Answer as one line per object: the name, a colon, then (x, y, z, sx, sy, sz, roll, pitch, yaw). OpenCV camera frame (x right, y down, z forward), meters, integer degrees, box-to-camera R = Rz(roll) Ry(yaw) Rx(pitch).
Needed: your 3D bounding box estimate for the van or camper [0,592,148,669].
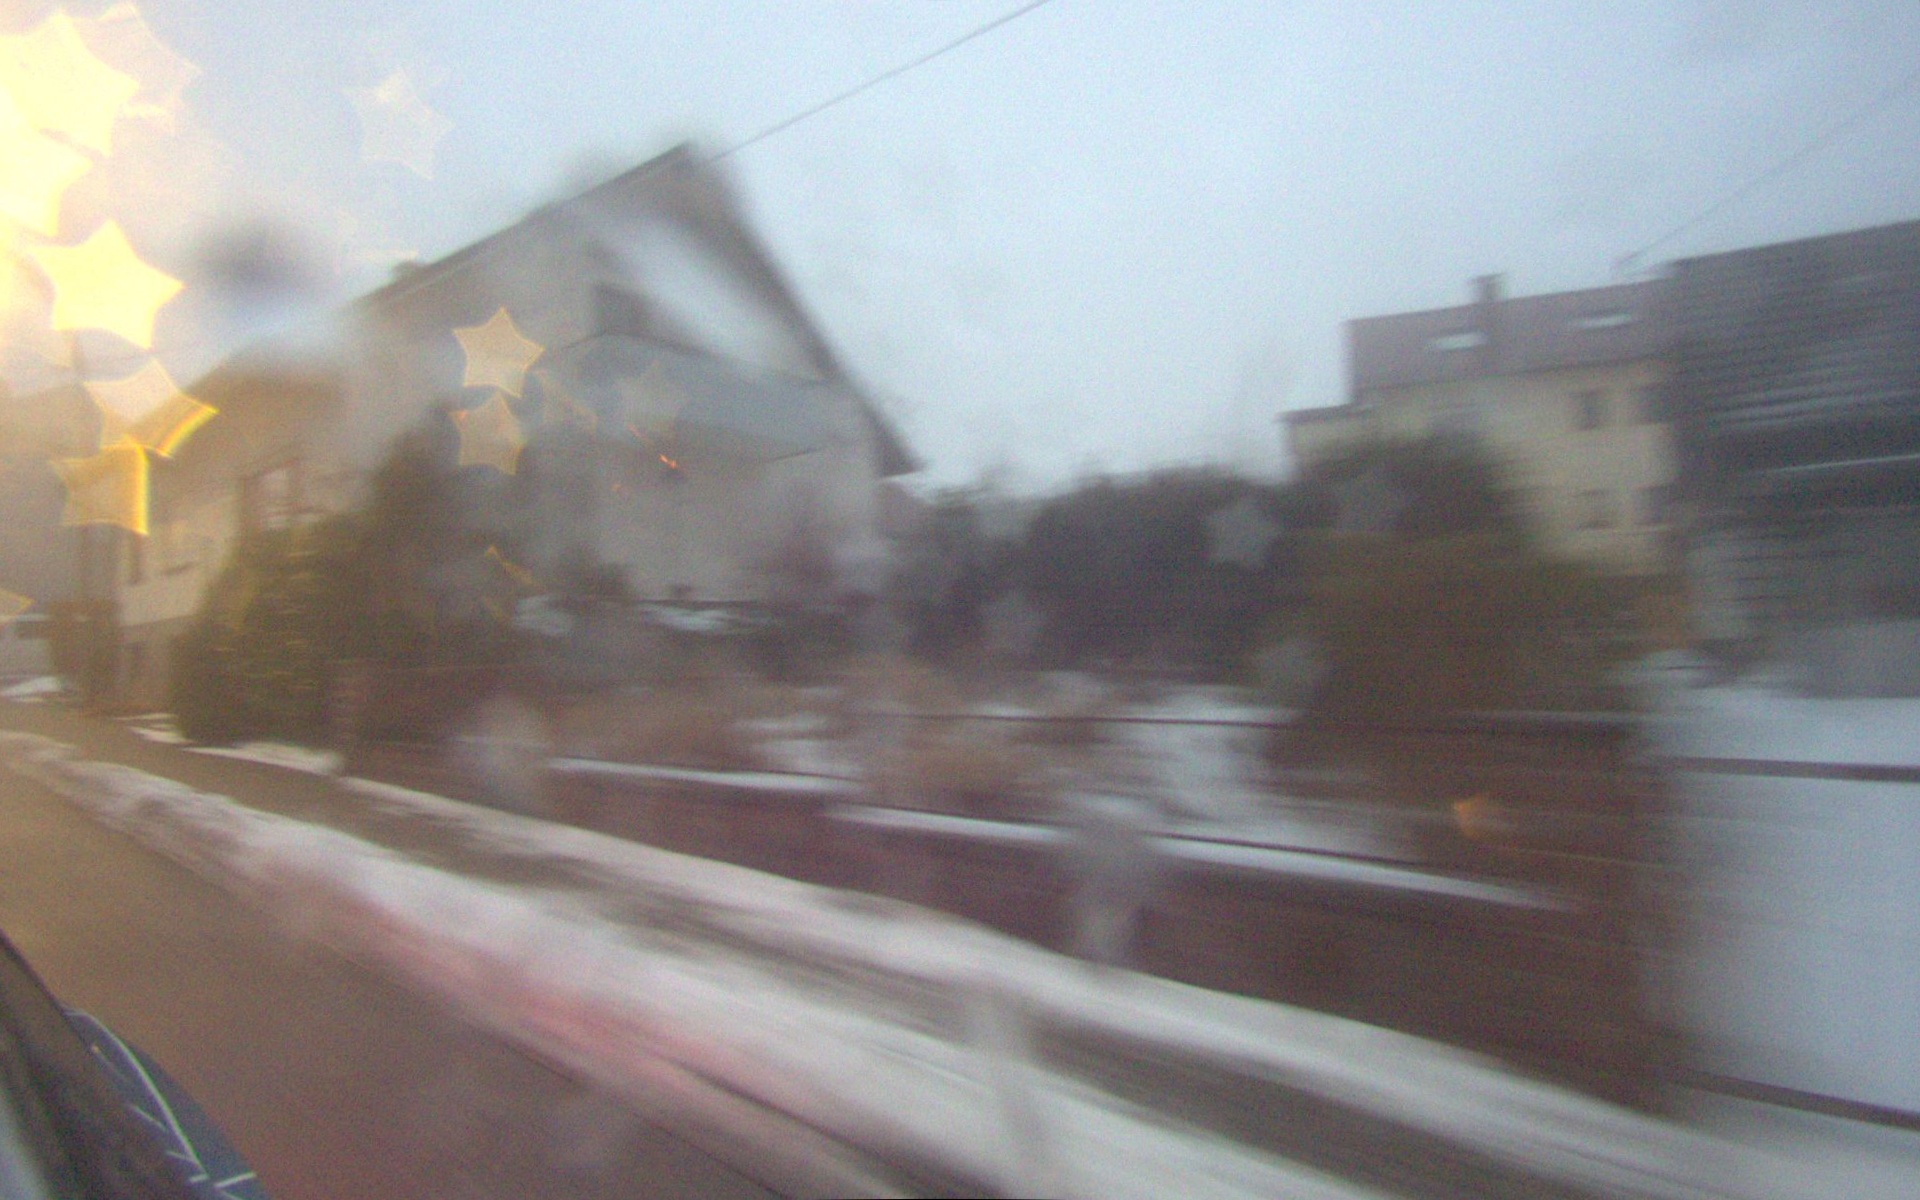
van or camper: (-31.421, 1.045, 34.810, 2.123, 2.467, 5.286, -1, -2, 11)

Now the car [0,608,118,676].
car: (-25.658, 1.161, 26.906, 1.889, 1.679, 4.743, -2, 1, 40)
